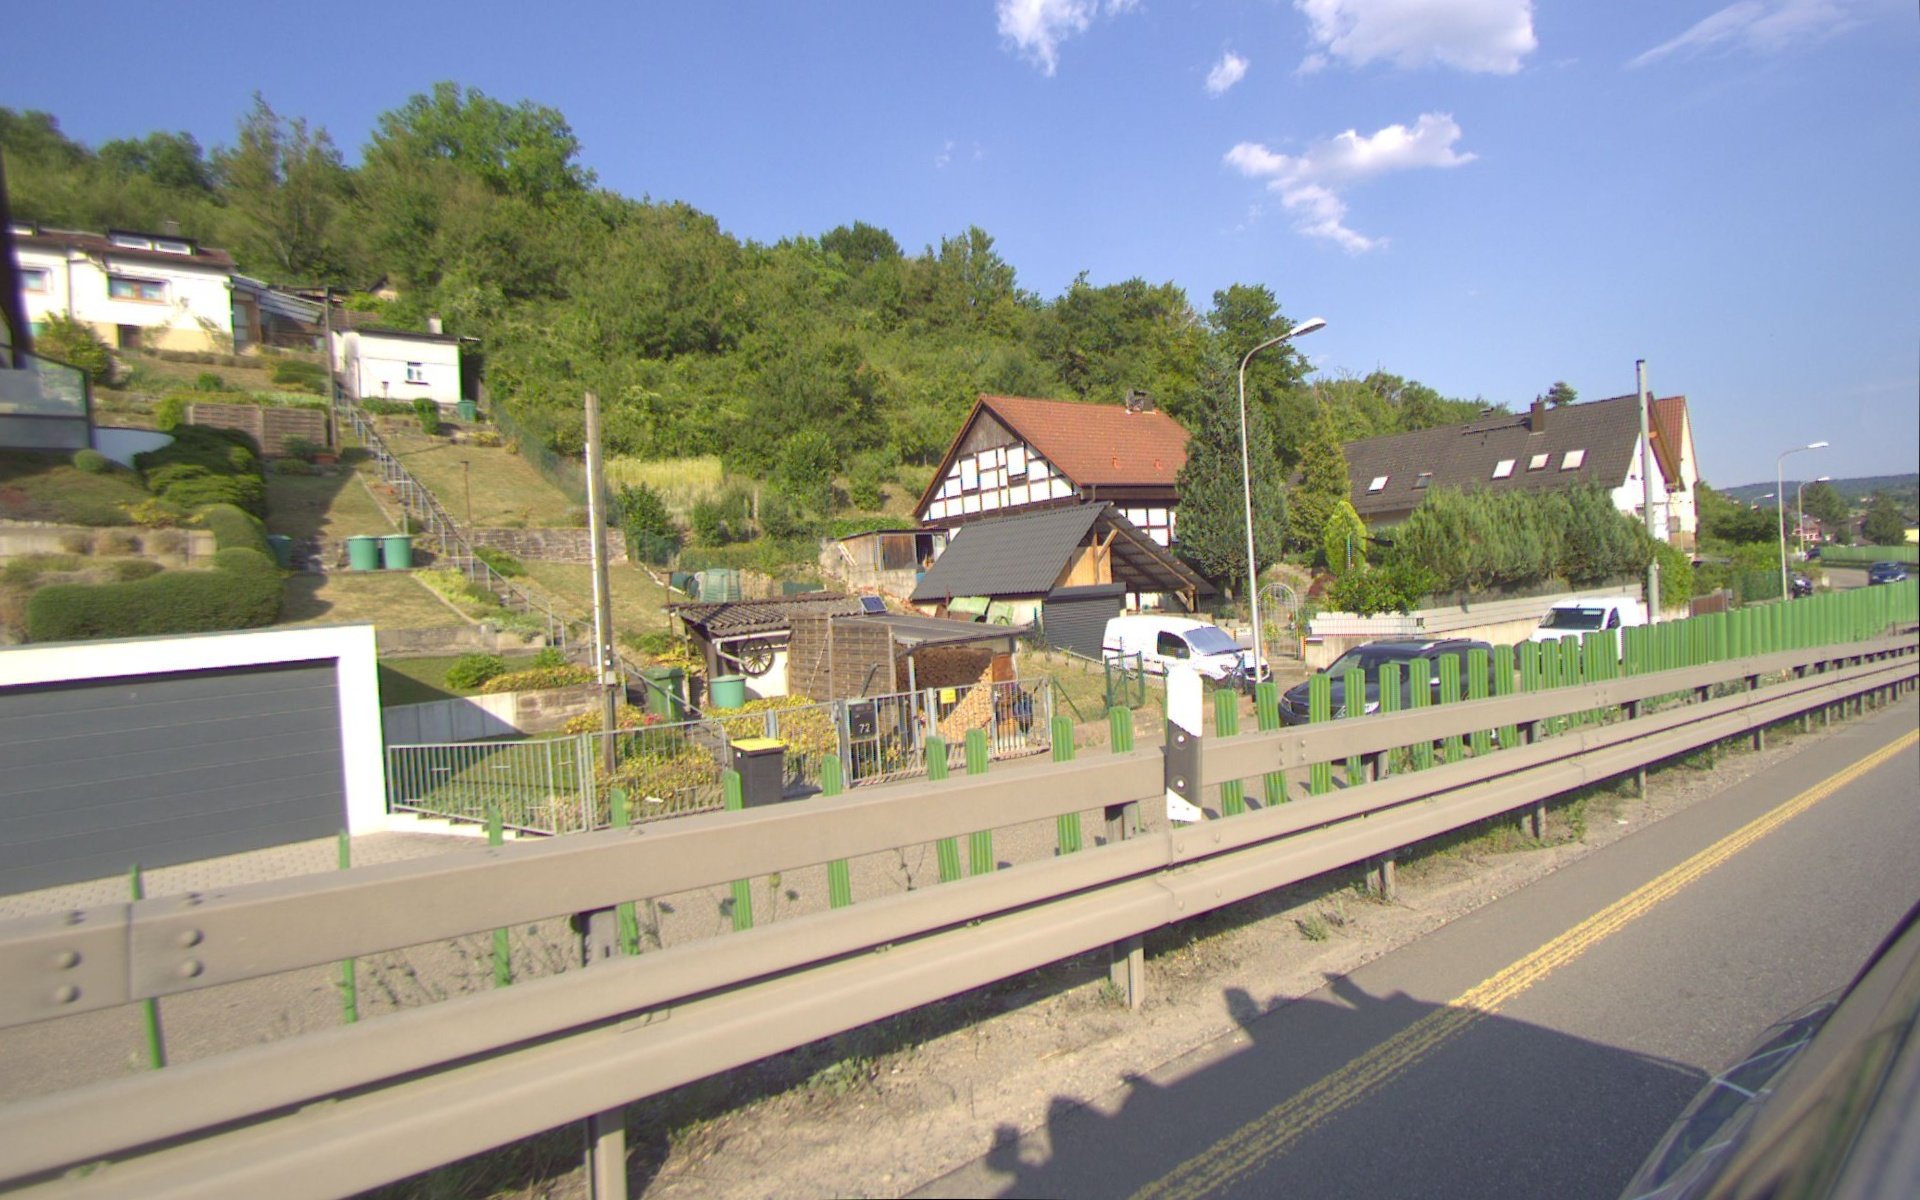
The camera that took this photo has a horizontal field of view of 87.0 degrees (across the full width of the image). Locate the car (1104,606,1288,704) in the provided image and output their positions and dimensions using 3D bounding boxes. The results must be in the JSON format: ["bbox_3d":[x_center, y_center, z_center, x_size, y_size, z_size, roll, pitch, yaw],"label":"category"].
[{"bbox_3d":[5.414,1.178,23.579,1.719,1.861,3.997,-2,3,-39],"label":"car"}]

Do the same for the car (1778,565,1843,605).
[{"bbox_3d":[44.971,-0.788,53.516,3.930,2.039,1.997,-1,0,-40],"label":"car"}]

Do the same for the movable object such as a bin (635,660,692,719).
[{"bbox_3d":[-5.063,1.512,17.293,0.668,0.912,0.791,-1,0,-42],"label":"movable object such as a bin"}]

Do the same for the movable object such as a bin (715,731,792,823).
[{"bbox_3d":[-2.608,2.212,12.791,0.665,1.014,0.723,-1,-2,-40],"label":"movable object such as a bin"}]

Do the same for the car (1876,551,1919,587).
[{"bbox_3d":[56.289,-1.821,60.512,3.934,2.039,1.995,-1,0,-44],"label":"car"}]

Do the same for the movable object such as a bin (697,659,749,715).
[{"bbox_3d":[-4.253,1.539,18.140,0.668,0.912,0.687,-1,0,-42],"label":"movable object such as a bin"}]

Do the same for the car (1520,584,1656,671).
[{"bbox_3d":[16.527,0.672,26.539,4.211,1.966,1.822,-3,0,-41],"label":"car"}]

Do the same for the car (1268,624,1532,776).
[{"bbox_3d":[7.059,1.426,16.061,4.416,1.807,1.867,-3,2,-37],"label":"car"}]
